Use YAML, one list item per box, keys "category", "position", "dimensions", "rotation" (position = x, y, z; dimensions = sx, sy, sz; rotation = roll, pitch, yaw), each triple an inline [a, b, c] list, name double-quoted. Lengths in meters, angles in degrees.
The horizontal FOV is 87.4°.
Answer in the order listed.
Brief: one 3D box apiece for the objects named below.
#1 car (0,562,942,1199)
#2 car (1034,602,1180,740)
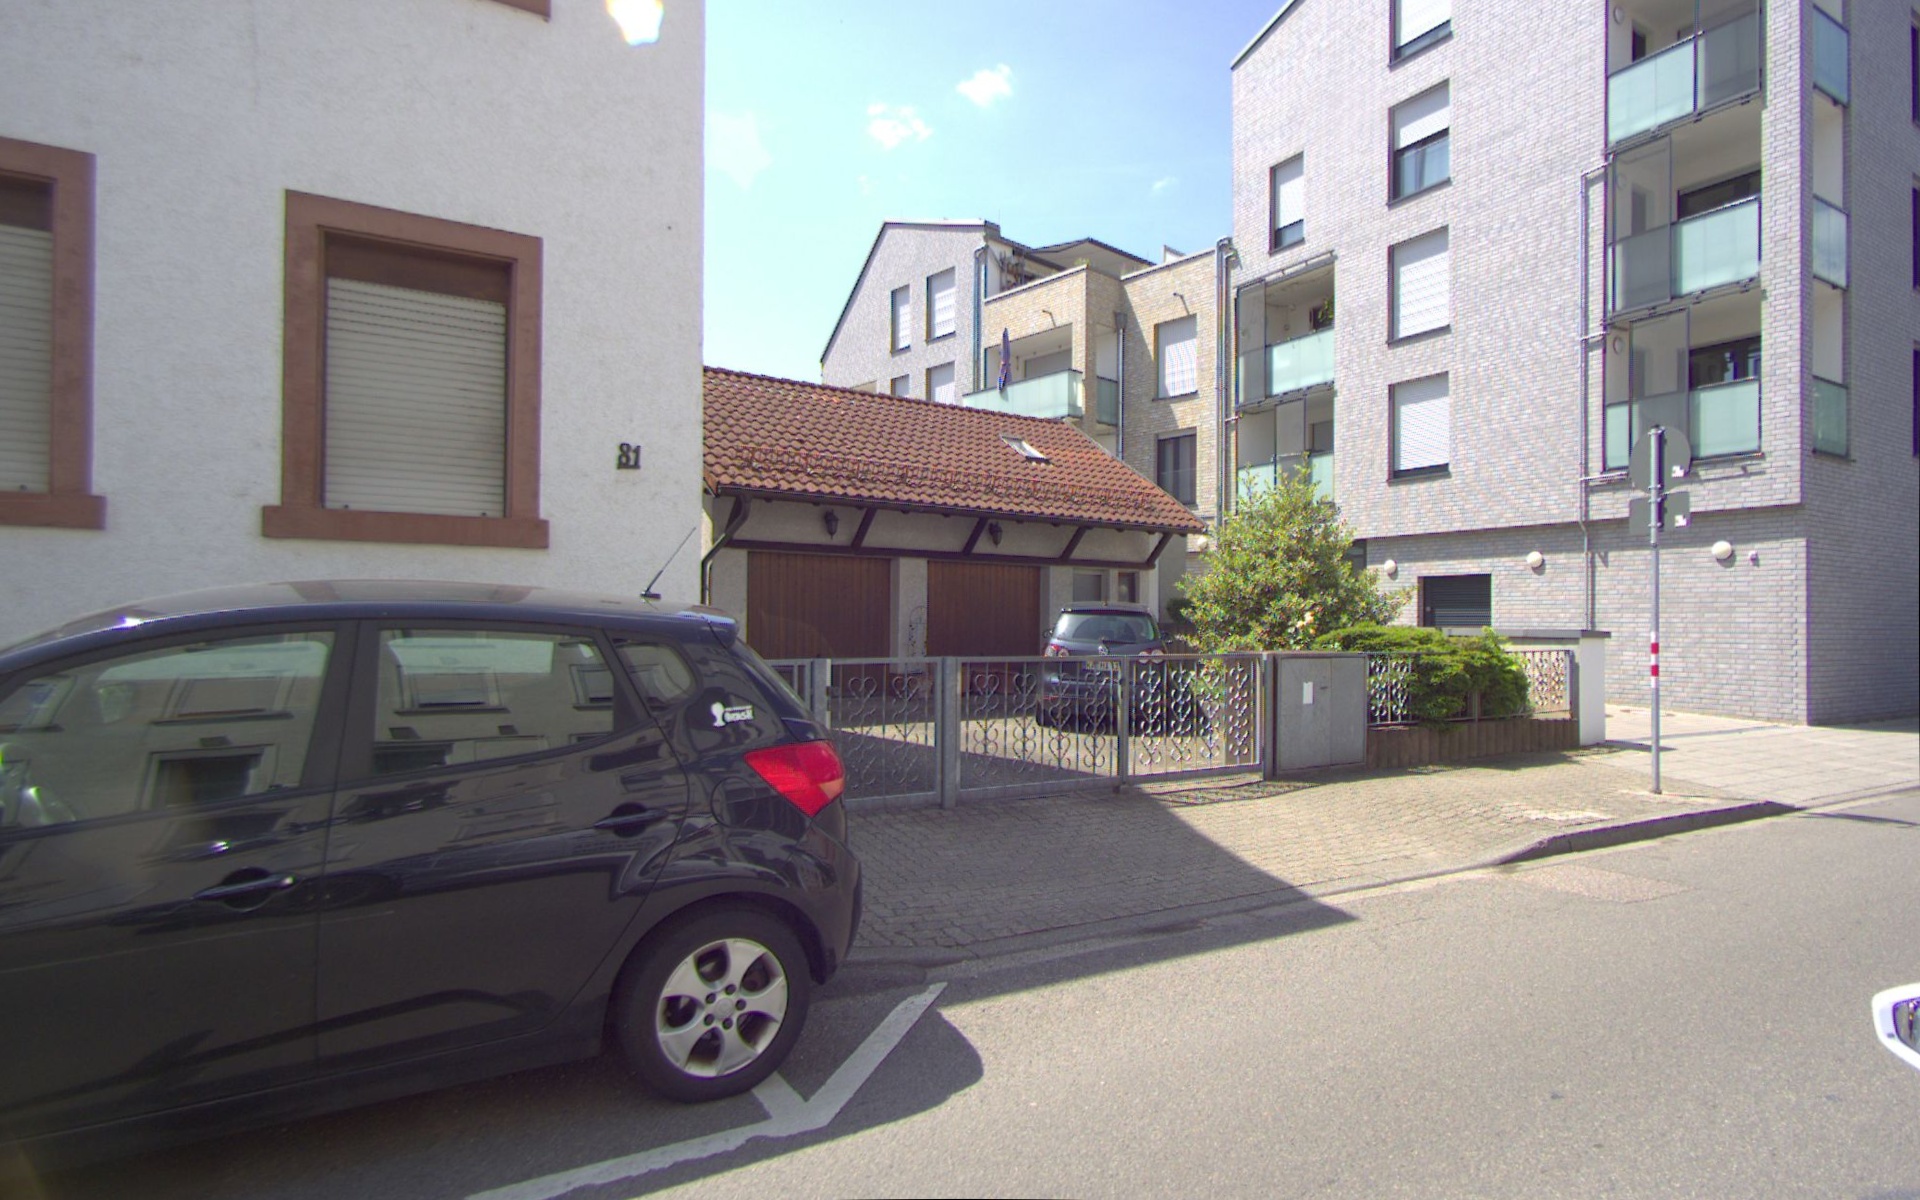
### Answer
- category: "car"
  position: [-2.198, 0.756, 3.297]
  dimensions: [3.899, 1.668, 1.786]
  rotation: [2, 0, -30]
- category: "car"
  position: [2.117, 0.837, 13.665]
  dimensions: [1.605, 1.560, 3.566]
  rotation: [2, 0, 14]
